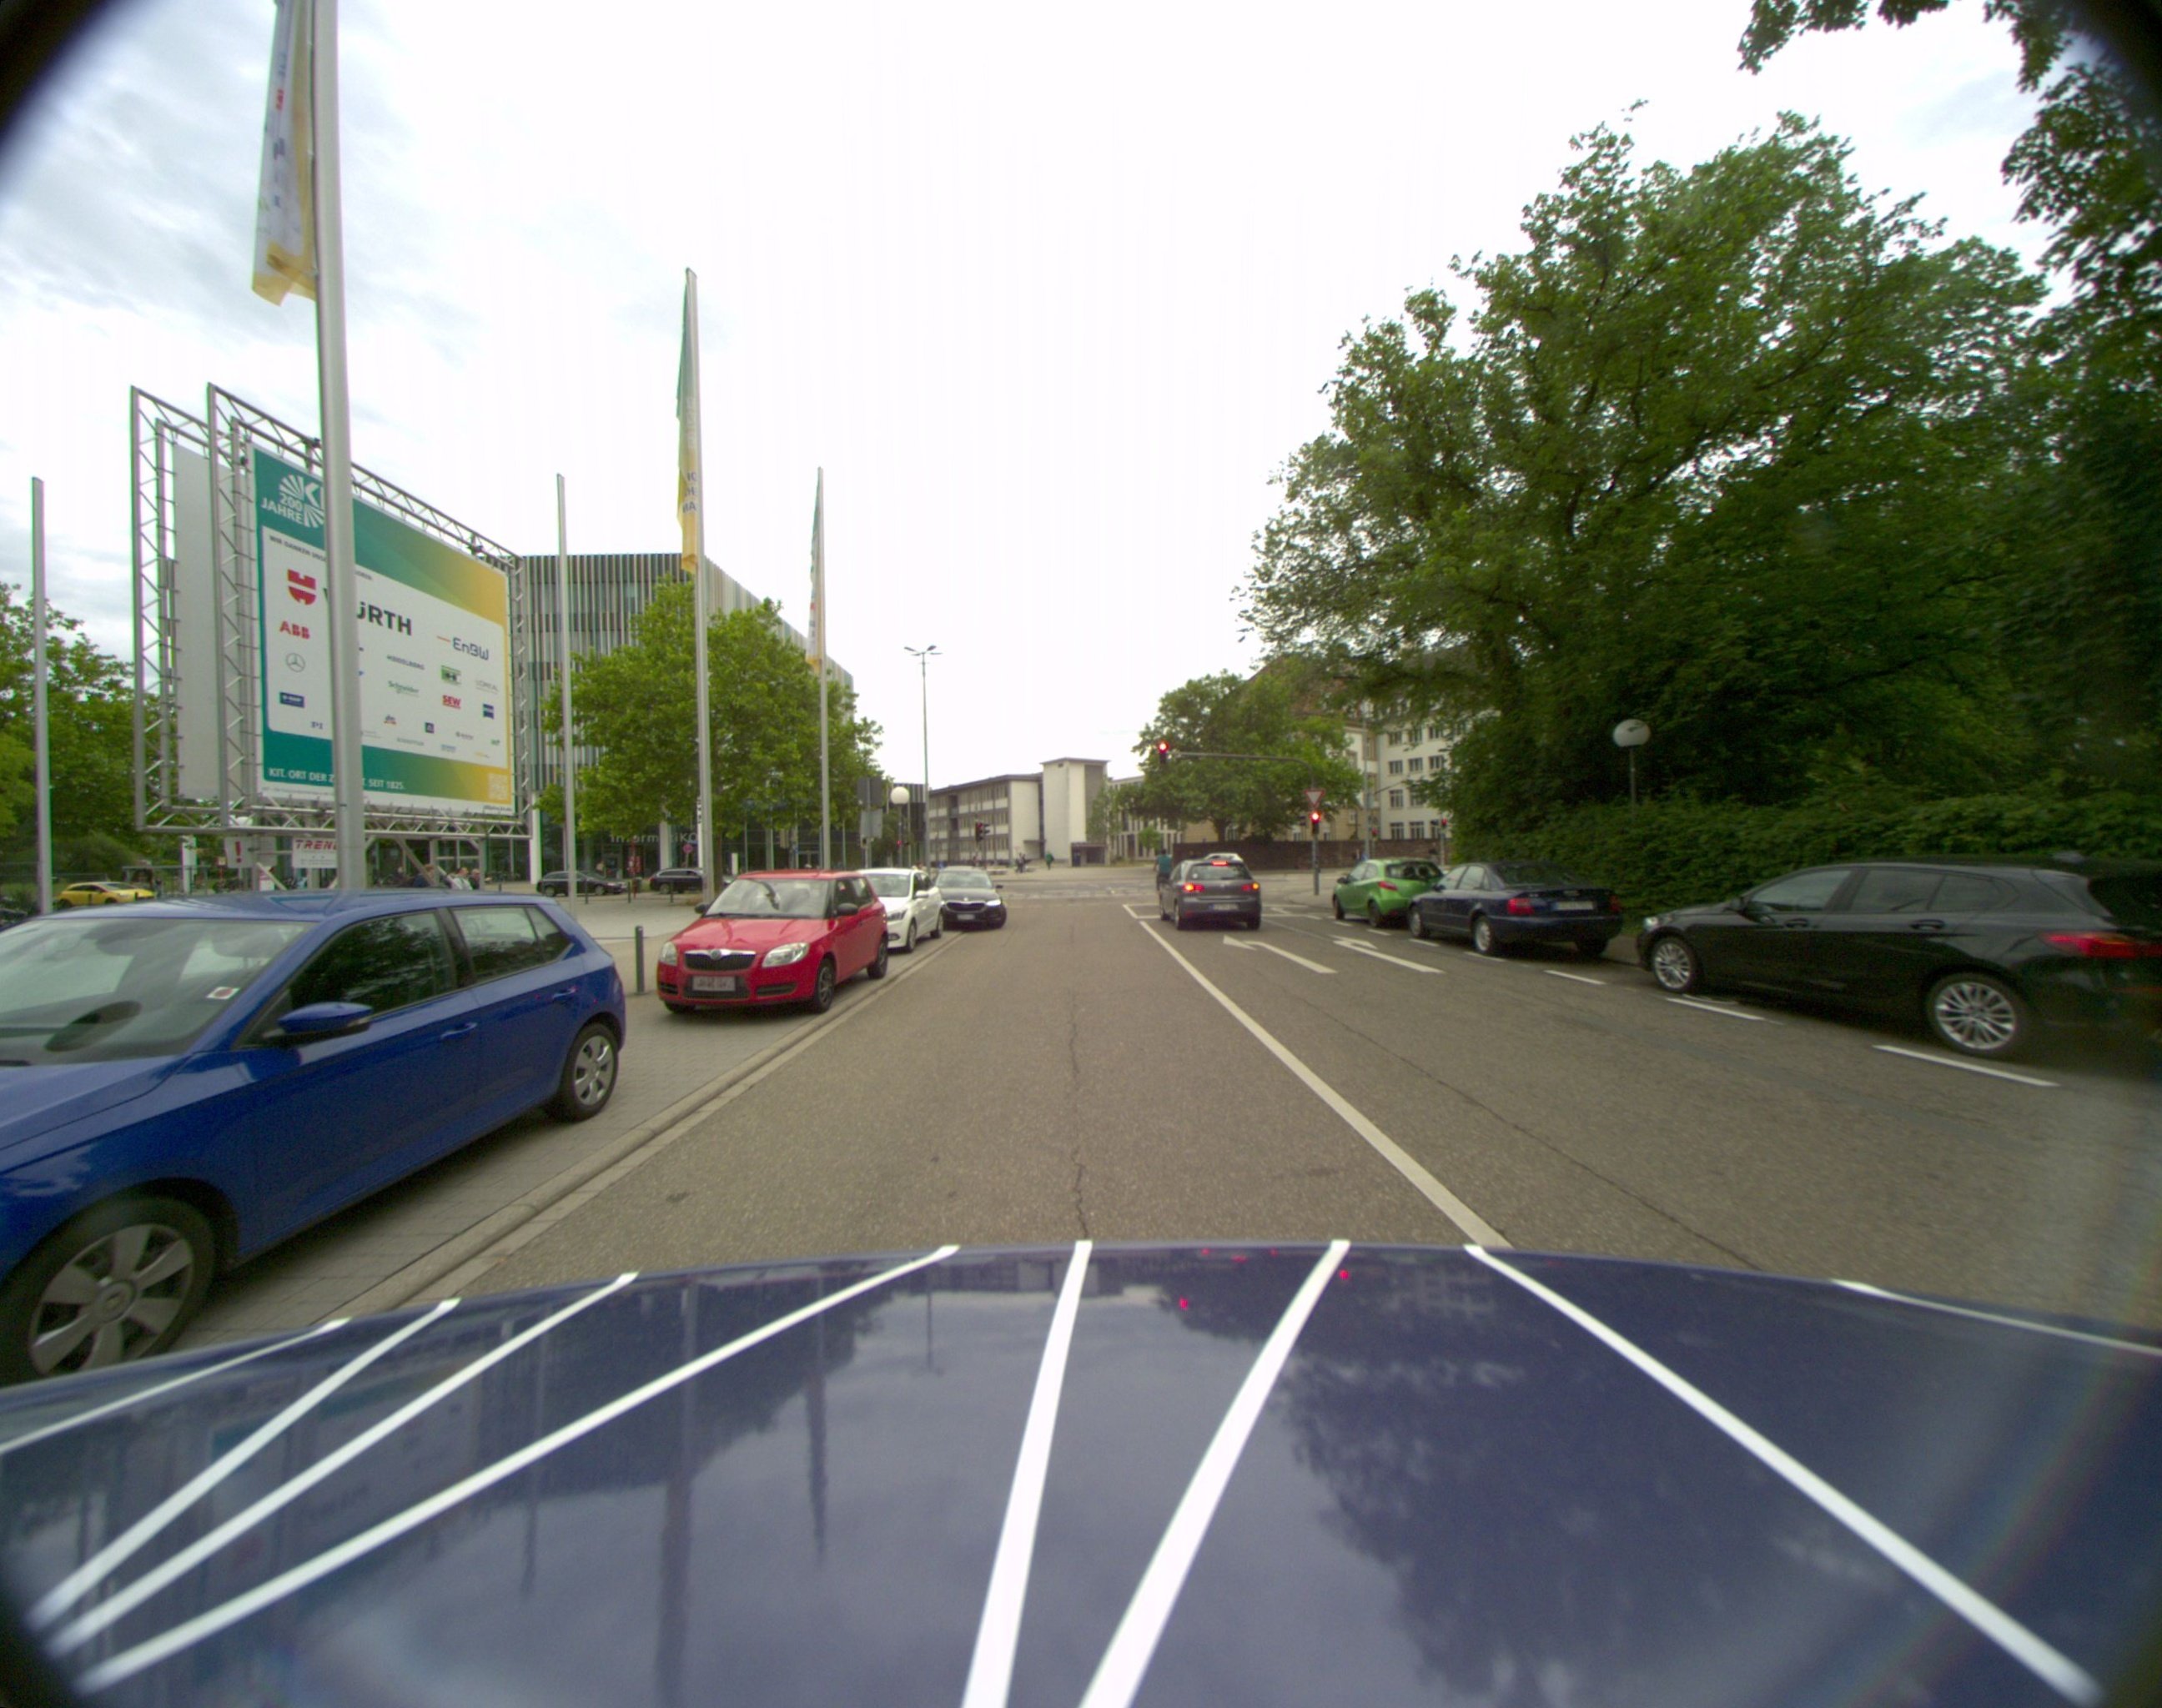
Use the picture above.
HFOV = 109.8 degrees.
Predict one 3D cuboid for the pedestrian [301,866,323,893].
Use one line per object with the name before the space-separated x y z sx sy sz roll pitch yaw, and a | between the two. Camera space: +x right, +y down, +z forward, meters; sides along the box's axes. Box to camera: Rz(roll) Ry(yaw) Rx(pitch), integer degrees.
pedestrian | -51.935 1.725 51.302 0.588 1.799 0.809 -1 1 4

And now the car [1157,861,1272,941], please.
car | 2.822 0.941 16.935 1.787 1.488 4.167 -1 0 -1

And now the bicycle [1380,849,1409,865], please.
bicycle | 25.184 0.240 61.061 2.156 1.178 0.582 -1 2 -9

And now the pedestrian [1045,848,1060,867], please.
pedestrian | -2.631 0.351 69.960 0.949 1.704 0.908 -1 1 33

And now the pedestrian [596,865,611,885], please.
pedestrian | -42.887 1.912 68.253 0.762 1.778 0.802 0 1 1

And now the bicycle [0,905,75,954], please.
bicycle | -25.161 1.790 17.904 0.457 1.043 1.935 -1 0 -5

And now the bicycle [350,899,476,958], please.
bicycle | -14.114 1.539 16.099 0.874 1.087 1.804 -2 0 32

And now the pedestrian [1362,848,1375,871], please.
pedestrian | 22.011 0.406 58.150 0.642 1.684 0.779 -1 2 -3

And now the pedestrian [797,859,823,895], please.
pedestrian | -12.301 1.040 34.544 0.756 1.617 0.794 -1 1 14

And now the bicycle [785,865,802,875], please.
bicycle | -26.241 1.477 69.270 2.004 0.930 0.485 -1 0 39

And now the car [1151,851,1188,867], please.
car | 11.379 0.679 97.588 4.410 1.570 1.998 -2 -9 -34

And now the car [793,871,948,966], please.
car | -3.814 1.111 14.472 1.865 1.444 3.858 -1 0 -1

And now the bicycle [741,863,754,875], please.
bicycle | -29.456 1.323 67.098 0.485 1.039 1.911 -2 2 -39

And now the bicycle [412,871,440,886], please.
bicycle | -55.762 2.061 64.706 0.628 1.251 2.104 -1 0 -2

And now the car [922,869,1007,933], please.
car | -3.032 1.122 19.446 1.867 1.393 4.474 1 -1 -10

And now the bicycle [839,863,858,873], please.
bicycle | -22.348 1.379 72.989 2.004 0.930 0.485 0 1 31

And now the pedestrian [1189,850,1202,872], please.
pedestrian | 8.939 0.525 59.291 0.809 1.654 0.791 -1 -2 -4

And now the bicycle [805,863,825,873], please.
bicycle | -24.600 1.299 70.246 2.004 0.930 0.485 0 1 31

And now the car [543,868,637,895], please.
car | -28.083 1.575 43.572 4.001 1.444 1.999 1 -1 -10

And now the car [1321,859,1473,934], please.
car | 7.041 0.870 17.454 1.802 1.461 4.248 -1 0 1

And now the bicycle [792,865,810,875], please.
bicycle | -25.721 1.477 69.799 2.004 0.930 0.550 -1 0 39

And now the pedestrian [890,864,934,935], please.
pedestrian | -4.348 1.155 19.609 0.792 1.777 0.822 -1 1 11

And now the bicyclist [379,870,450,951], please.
bicyclist | -14.114 1.172 16.102 0.874 1.631 0.870 -1 0 32

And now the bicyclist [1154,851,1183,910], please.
bicyclist | 2.696 0.805 23.460 0.659 1.769 0.983 -1 1 -8

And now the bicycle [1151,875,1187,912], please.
bicycle | 2.705 1.190 23.471 0.659 1.031 1.856 -1 0 -8

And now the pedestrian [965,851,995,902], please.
pedestrian | -3.914 0.860 29.490 0.791 1.941 0.759 -1 1 28

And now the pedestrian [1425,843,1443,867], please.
pedestrian | 27.464 0.082 59.166 1.006 1.779 0.757 -1 2 -1

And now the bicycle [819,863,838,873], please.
bicycle | -23.660 1.299 71.216 2.004 0.930 0.485 0 1 31

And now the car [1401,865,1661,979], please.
car | 6.855 0.936 12.207 1.802 1.400 4.337 -1 0 3

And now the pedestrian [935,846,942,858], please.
pedestrian | -20.997 -0.311 111.844 0.777 1.778 0.759 -1 1 -31

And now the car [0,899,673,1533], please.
car | -3.729 1.046 3.368 1.700 1.403 4.375 0 0 -4

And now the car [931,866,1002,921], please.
car | -3.602 1.206 24.535 1.626 1.493 4.105 1 1 0

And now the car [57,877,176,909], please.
car | -54.329 2.195 42.859 4.190 1.608 2.000 -1 0 2

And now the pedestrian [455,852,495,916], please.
pedestrian | -16.490 0.820 20.673 0.676 1.705 0.675 -3 -2 37

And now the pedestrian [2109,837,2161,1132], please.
pedestrian | 6.424 0.725 3.984 0.740 1.652 0.968 0 -1 1

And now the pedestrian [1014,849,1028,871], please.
pedestrian | -5.095 0.516 64.489 0.848 1.778 0.892 -2 1 -43

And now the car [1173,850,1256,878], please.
car | 9.377 0.700 53.719 5.371 1.687 2.048 -2 -2 -2

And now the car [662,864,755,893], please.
car | -21.165 1.383 43.296 4.289 1.481 2.000 -2 1 -1

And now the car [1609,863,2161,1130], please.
car | 7.201 0.866 6.772 1.802 1.551 4.530 -1 -1 -1

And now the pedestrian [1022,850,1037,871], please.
pedestrian | -4.437 0.538 65.088 0.848 1.778 0.892 -2 1 -43

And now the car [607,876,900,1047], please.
car | -3.544 1.064 9.187 1.716 1.464 4.273 1 0 -1

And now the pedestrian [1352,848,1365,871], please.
pedestrian | 21.252 0.416 58.153 0.670 1.729 0.735 -1 2 -3

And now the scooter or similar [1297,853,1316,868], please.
scooter or similar | 17.996 0.518 60.707 1.410 1.223 0.495 0 3 18
